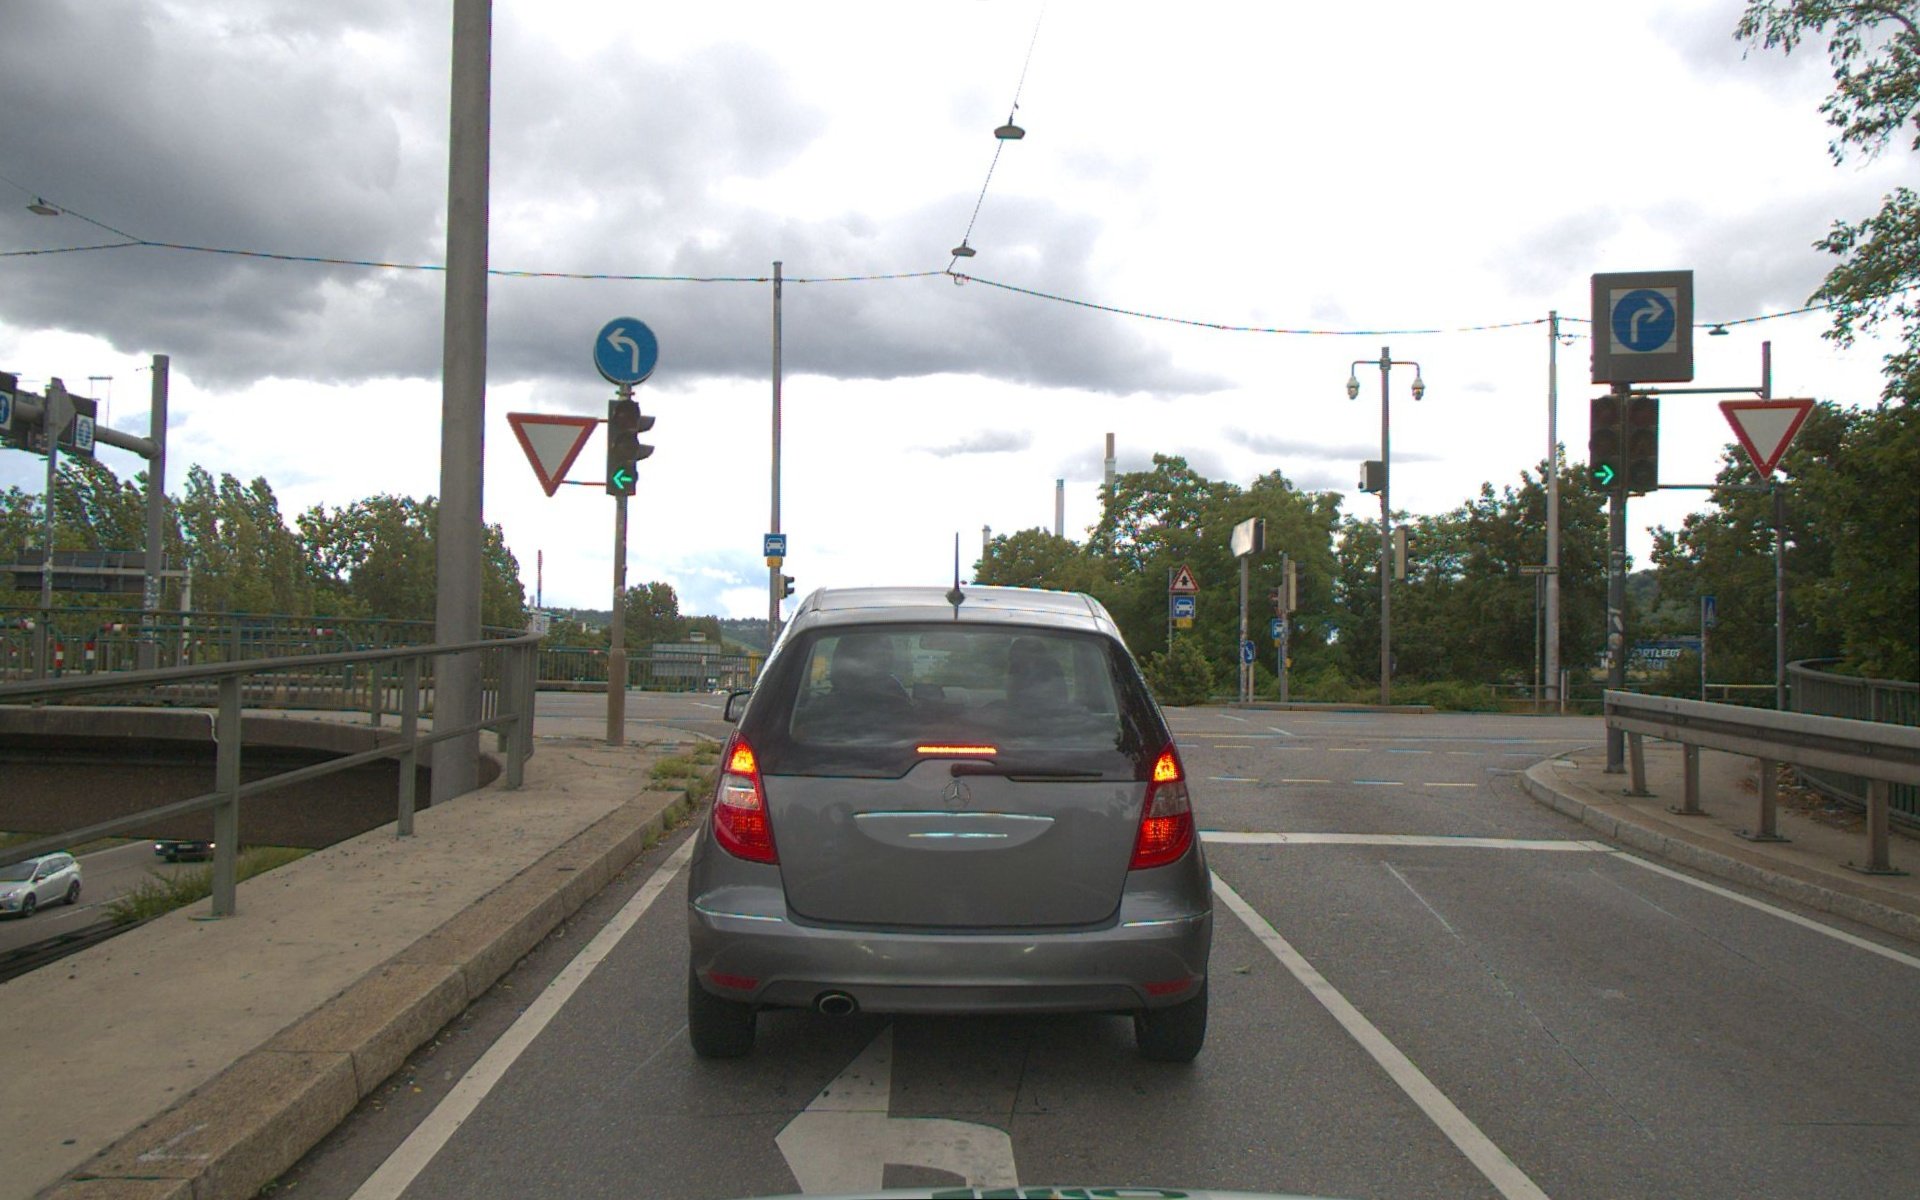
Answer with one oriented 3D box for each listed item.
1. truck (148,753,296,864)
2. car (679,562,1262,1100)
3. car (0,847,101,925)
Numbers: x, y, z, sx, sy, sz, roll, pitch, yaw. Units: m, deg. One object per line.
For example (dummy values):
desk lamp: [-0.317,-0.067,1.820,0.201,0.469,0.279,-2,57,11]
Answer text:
truck: [-27.860,7.786,62.875,2.463,3.522,8.122,-1,-3,-4]
car: [0.016,0.696,6.674,1.704,1.570,3.540,1,0,-1]
car: [-26.543,8.153,47.402,1.646,1.640,4.490,-1,-2,-2]
